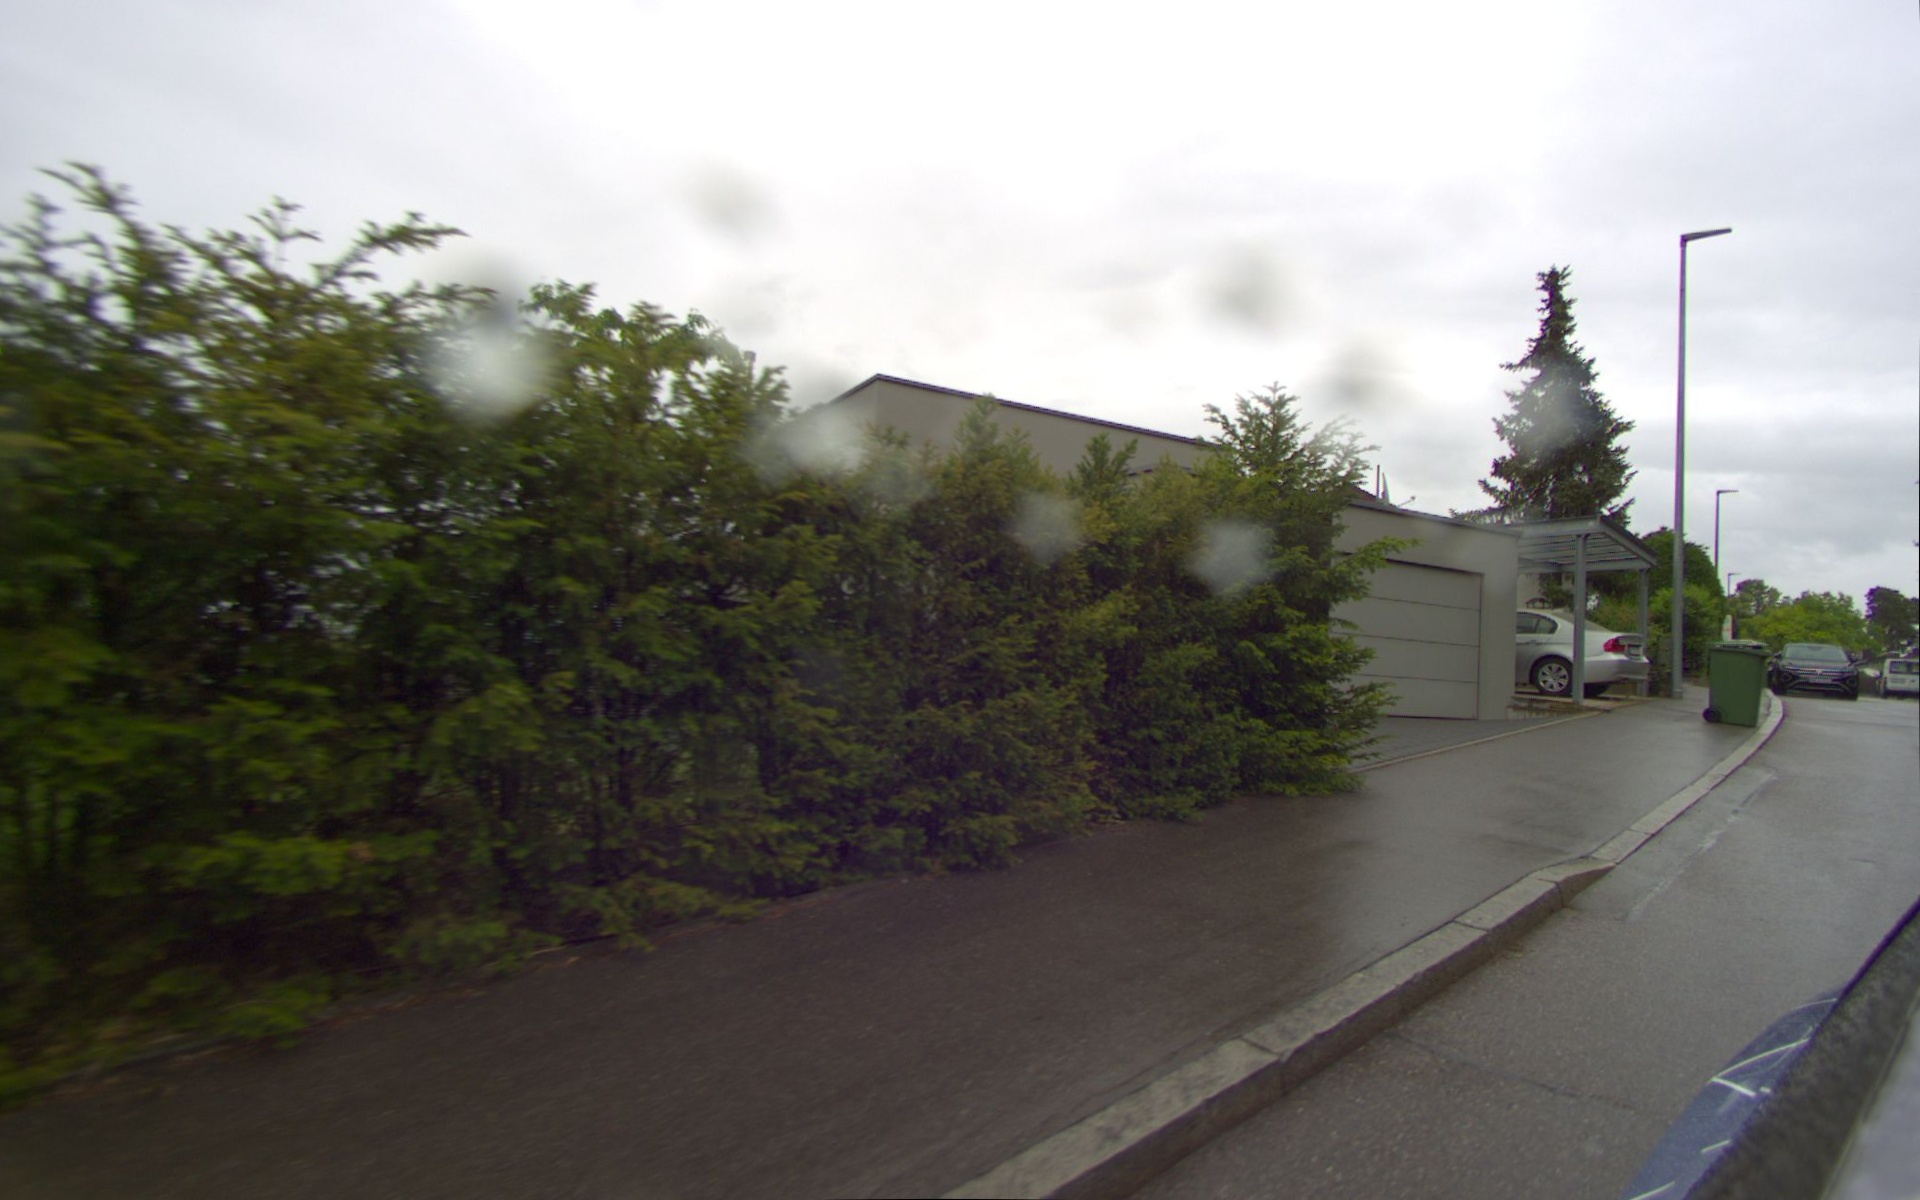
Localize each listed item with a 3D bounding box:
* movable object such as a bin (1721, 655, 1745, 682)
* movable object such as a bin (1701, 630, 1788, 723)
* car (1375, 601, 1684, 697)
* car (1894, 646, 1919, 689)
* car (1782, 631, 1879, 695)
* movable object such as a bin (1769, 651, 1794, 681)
[{"bbox_3d":[33.757,3.000,44.204,0.738,1.102,0.590,4,-2,42],"label":"movable object such as a bin"},{"bbox_3d":[10.379,0.984,13.394,0.789,1.109,0.665,6,2,42],"label":"movable object such as a bin"},{"bbox_3d":[9.582,0.771,17.322,1.906,1.433,4.226,2,-2,-38],"label":"car"},{"bbox_3d":[48.567,3.464,50.930,2.110,2.000,5.093,2,-3,41],"label":"car"},{"bbox_3d":[25.015,1.827,29.204,1.871,1.612,4.416,1,-3,38],"label":"car"},{"bbox_3d":[31.538,2.543,38.857,0.727,1.092,0.652,1,-4,37],"label":"movable object such as a bin"}]
